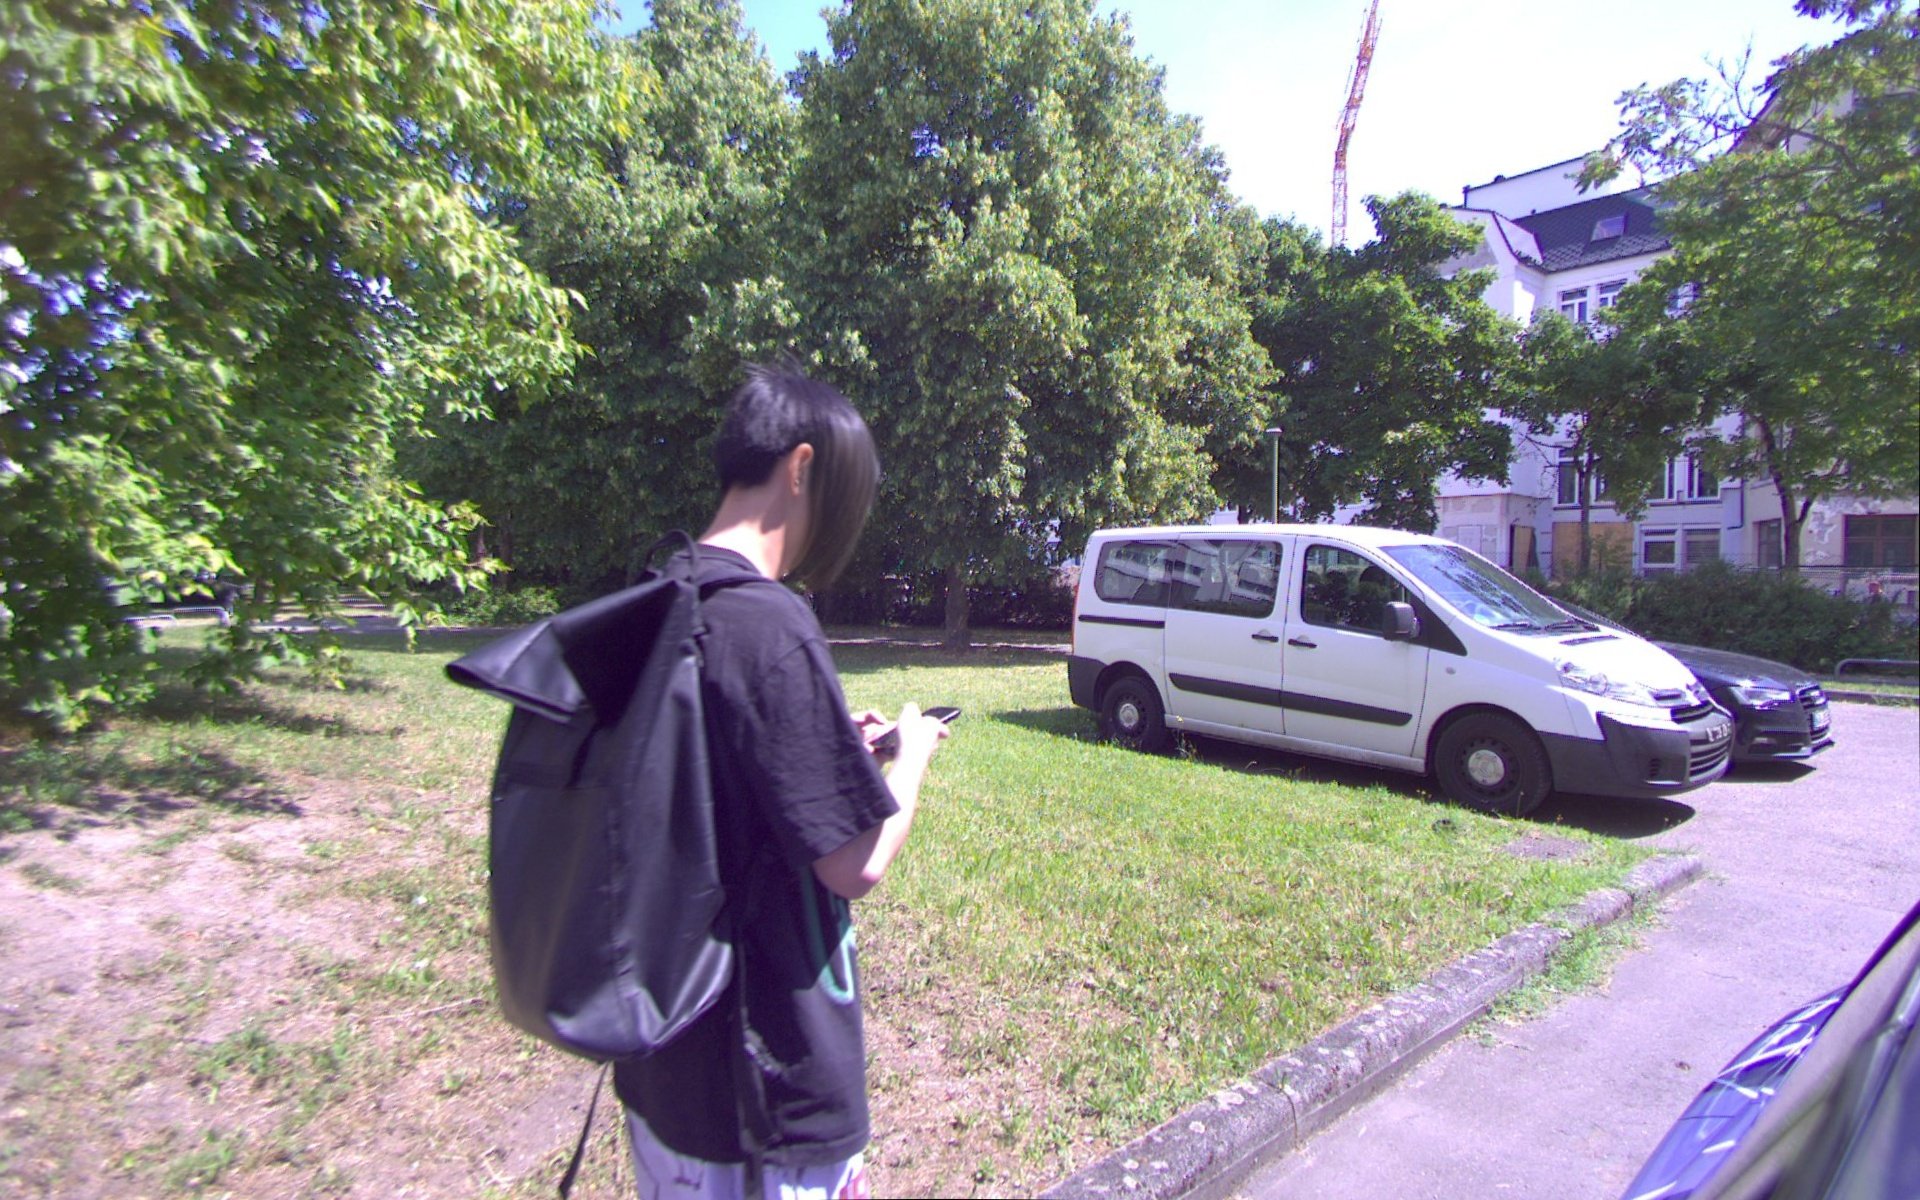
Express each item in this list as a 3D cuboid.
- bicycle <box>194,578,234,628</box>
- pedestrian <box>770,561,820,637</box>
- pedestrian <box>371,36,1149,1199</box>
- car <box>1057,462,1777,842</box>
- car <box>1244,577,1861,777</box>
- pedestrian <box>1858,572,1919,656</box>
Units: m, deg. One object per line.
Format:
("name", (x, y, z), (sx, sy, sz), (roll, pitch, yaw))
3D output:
("bicycle", (-17.381, 0.060, 23.552), (0.591, 1.098, 1.937), (1, 1, -41))
("pedestrian", (-3.545, -0.029, 21.716), (0.746, 1.584, 0.730), (1, 0, 40))
("pedestrian", (-0.293, 0.432, 1.340), (0.738, 1.777, 0.759), (1, 0, -39))
("car", (3.122, 0.220, 7.911), (1.964, 2.039, 4.771), (0, 1, -38))
("car", (5.143, 0.505, 9.418), (1.800, 1.369, 4.622), (1, 1, -39))
("pedestrian", (21.147, 0.309, 22.983), (0.961, 1.842, 0.860), (1, 1, 34))
